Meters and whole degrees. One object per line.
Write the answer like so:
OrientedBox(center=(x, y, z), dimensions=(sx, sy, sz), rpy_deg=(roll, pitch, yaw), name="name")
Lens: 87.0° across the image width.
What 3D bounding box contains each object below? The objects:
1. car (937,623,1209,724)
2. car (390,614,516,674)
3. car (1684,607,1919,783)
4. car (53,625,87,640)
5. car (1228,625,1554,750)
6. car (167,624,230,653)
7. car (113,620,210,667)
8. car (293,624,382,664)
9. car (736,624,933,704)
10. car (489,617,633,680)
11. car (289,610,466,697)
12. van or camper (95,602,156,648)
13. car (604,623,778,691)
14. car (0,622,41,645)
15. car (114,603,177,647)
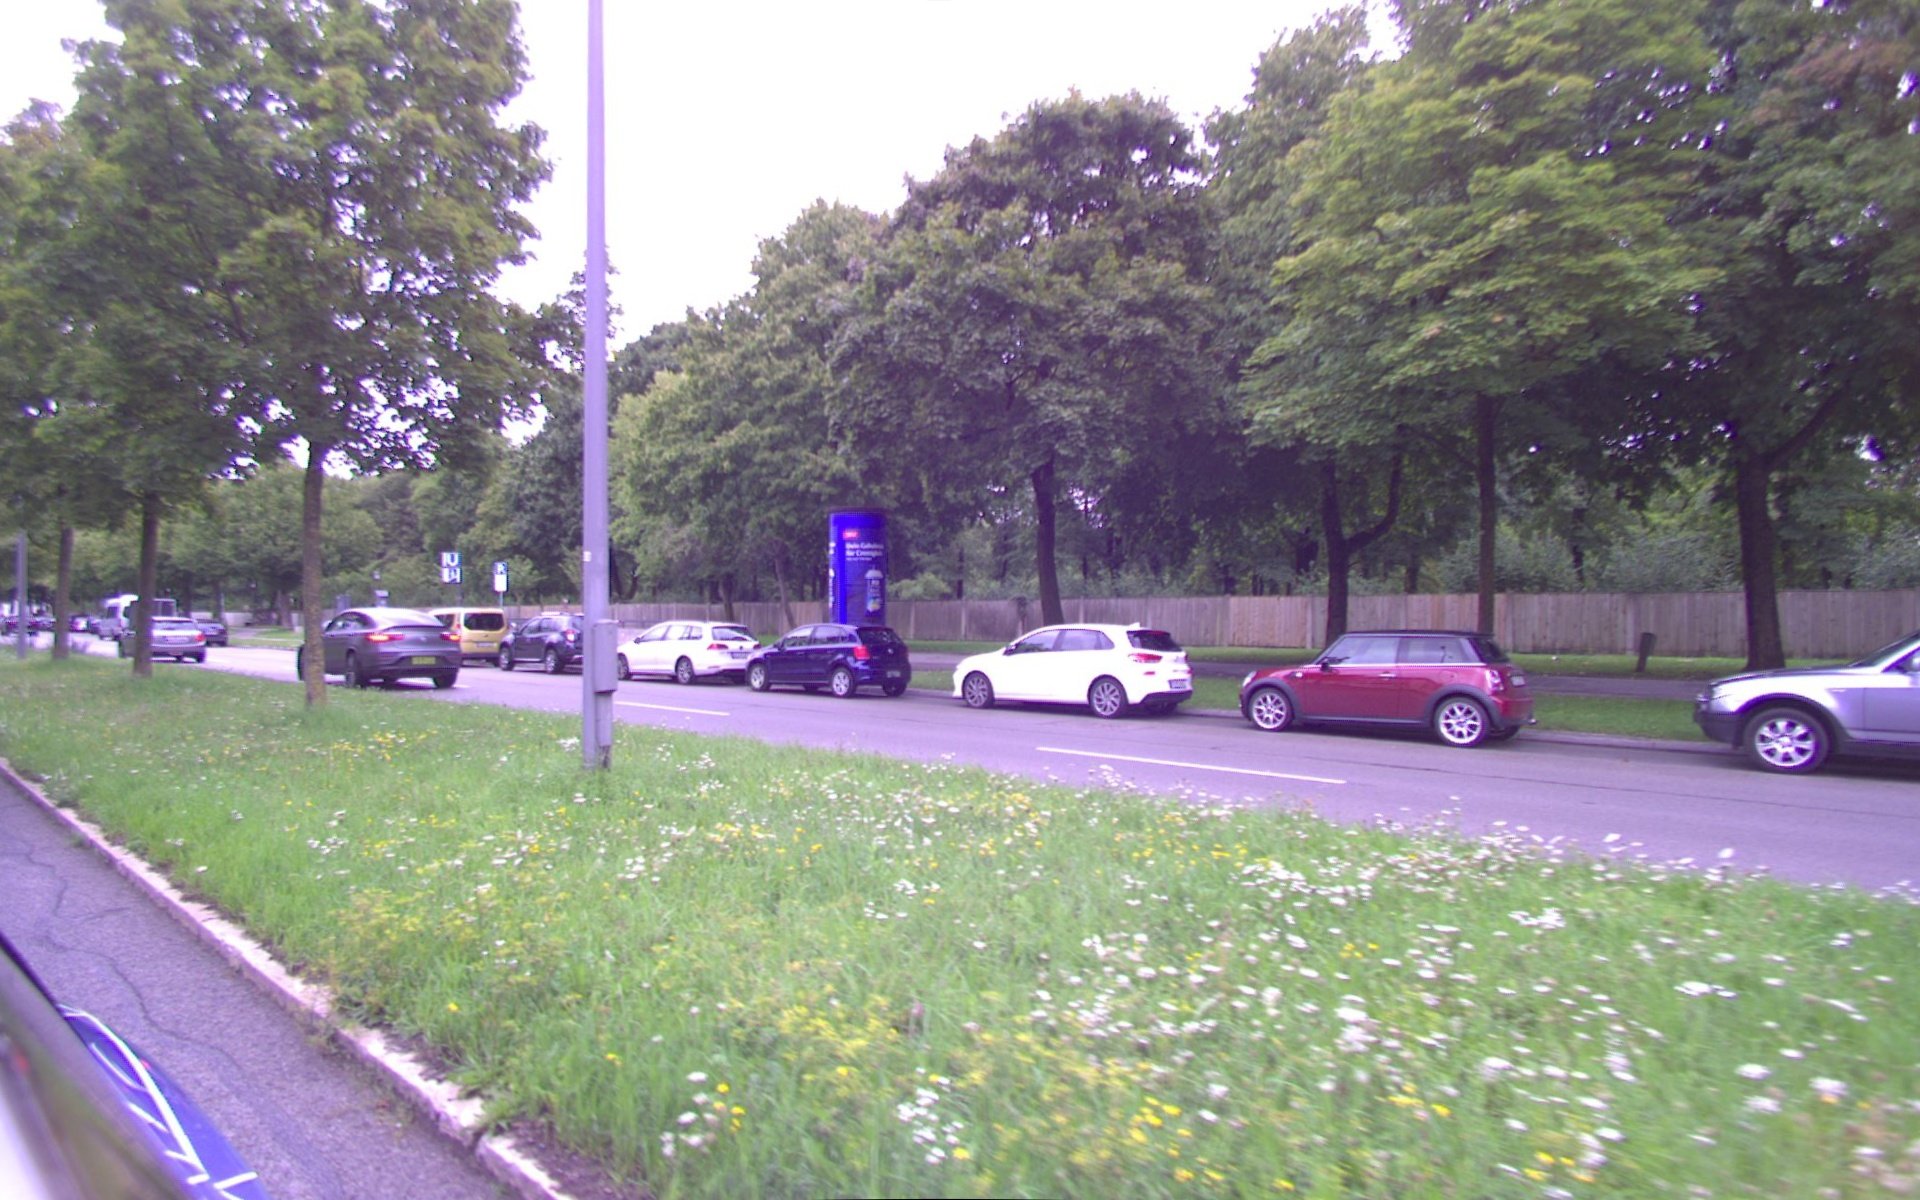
OrientedBox(center=(1.796, 1.153, 16.936), dimensions=(4.258, 1.488, 1.802), rpy_deg=(-1, -4, 42), name="car")
OrientedBox(center=(-16.179, 1.358, 32.208), dimensions=(4.529, 1.784, 1.839), rpy_deg=(-1, -2, 39), name="car")
OrientedBox(center=(9.899, 0.905, 9.890), dimensions=(4.454, 1.643, 1.803), rpy_deg=(-1, -2, 41), name="car")
OrientedBox(center=(-83.410, 3.041, 94.820), dimensions=(4.037, 1.420, 1.695), rpy_deg=(-1, -2, 39), name="car")
OrientedBox(center=(5.648, 1.079, 13.485), dimensions=(3.685, 1.433, 1.632), rpy_deg=(-1, -4, 42), name="car")
OrientedBox(center=(-39.885, 2.000, 52.994), dimensions=(4.037, 1.420, 1.695), rpy_deg=(-1, -2, 39), name="car")
OrientedBox(center=(-25.219, 1.355, 31.914), dimensions=(3.765, 1.393, 1.700), rpy_deg=(-1, -4, 41), name="car")
OrientedBox(center=(-24.370, 1.701, 39.591), dimensions=(4.037, 1.454, 1.695), rpy_deg=(-1, -2, 39), name="car")
OrientedBox(center=(-2.586, 1.251, 20.494), dimensions=(3.784, 1.457, 1.804), rpy_deg=(-1, -4, 39), name="car")
OrientedBox(center=(-11.184, 1.307, 28.271), dimensions=(4.037, 1.628, 1.982), rpy_deg=(-1, -2, 39), name="car")
OrientedBox(center=(-12.072, 1.036, 20.847), dimensions=(4.499, 1.601, 1.802), rpy_deg=(-2, -1, 41), name="car")
OrientedBox(center=(-53.084, 1.589, 64.324), dimensions=(4.926, 2.829, 1.974), rpy_deg=(-1, -2, 39), name="van or camper")
OrientedBox(center=(-6.462, 1.307, 24.127), dimensions=(4.296, 1.481, 1.804), rpy_deg=(-1, -2, 39), name="car")
OrientedBox(center=(-69.811, 2.476, 75.074), dimensions=(4.498, 1.682, 1.842), rpy_deg=(-1, -3, 41), name="car")
OrientedBox(center=(-49.204, 1.511, 61.127), dimensions=(4.495, 2.611, 1.974), rpy_deg=(-1, -2, 39), name="car")
